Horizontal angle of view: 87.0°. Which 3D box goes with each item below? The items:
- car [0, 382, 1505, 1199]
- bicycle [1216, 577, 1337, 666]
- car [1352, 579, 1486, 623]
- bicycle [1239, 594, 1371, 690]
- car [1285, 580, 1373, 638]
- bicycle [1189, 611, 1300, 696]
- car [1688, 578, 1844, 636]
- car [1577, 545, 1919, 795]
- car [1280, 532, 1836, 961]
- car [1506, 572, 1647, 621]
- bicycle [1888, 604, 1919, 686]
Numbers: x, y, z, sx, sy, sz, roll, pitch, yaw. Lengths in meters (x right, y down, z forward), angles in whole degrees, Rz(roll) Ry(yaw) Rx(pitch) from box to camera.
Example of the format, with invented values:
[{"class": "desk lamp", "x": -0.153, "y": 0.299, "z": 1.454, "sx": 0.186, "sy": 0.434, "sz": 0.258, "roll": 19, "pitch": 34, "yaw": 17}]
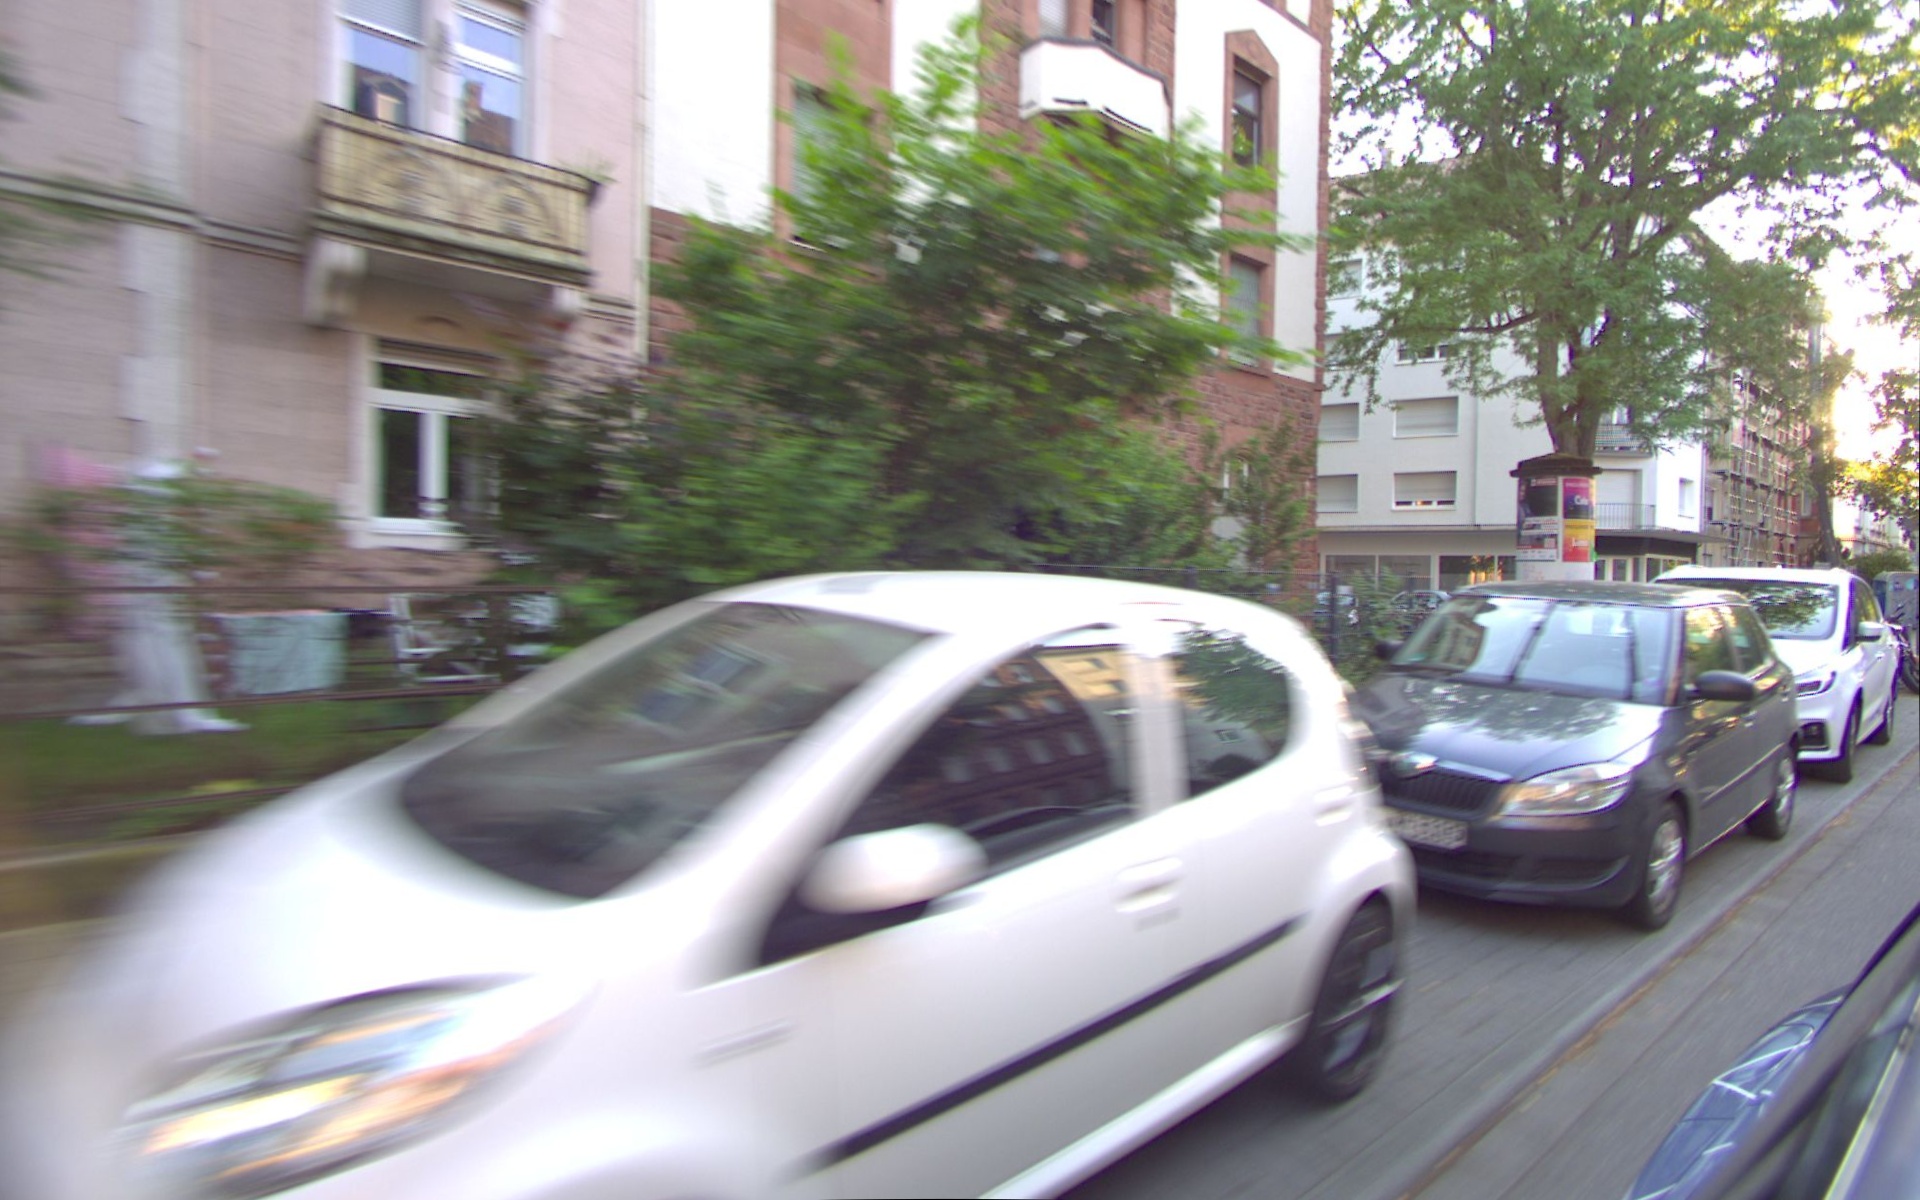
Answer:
[{"class": "car", "x": -0.112, "y": 0.571, "z": 2.789, "sx": 3.684, "sy": 1.626, "sz": 1.689, "roll": -1, "pitch": 2, "yaw": -42}, {"class": "bicycle", "x": 4.091, "y": 0.254, "z": 13.174, "sx": 0.325, "sy": 1.047, "sz": 1.512, "roll": 2, "pitch": 1, "yaw": -42}, {"class": "car", "x": 16.032, "y": 0.012, "z": 35.431, "sx": 4.194, "sy": 1.446, "sz": 1.642, "roll": 1, "pitch": 2, "yaw": 27}, {"class": "bicycle", "x": 4.168, "y": 0.481, "z": 12.300, "sx": 0.325, "sy": 1.047, "sz": 1.512, "roll": 2, "pitch": 1, "yaw": -42}, {"class": "car", "x": 10.399, "y": 0.206, "z": 28.384, "sx": 1.668, "sy": 1.496, "sz": 3.394, "roll": 1, "pitch": 1, "yaw": 32}, {"class": "bicycle", "x": 3.952, "y": 0.721, "z": 14.155, "sx": 0.325, "sy": 1.047, "sz": 1.512, "roll": 2, "pitch": 1, "yaw": -42}, {"class": "car", "x": 24.477, "y": 0.184, "z": 30.892, "sx": 3.450, "sy": 1.593, "sz": 1.608, "roll": 2, "pitch": 1, "yaw": 31}, {"class": "car", "x": 7.352, "y": 0.429, "z": 9.239, "sx": 4.524, "sy": 1.732, "sz": 1.800, "roll": -1, "pitch": 2, "yaw": -43}, {"class": "car", "x": 3.689, "y": 0.511, "z": 5.874, "sx": 4.139, "sy": 1.626, "sz": 1.689, "roll": -1, "pitch": 2, "yaw": -43}, {"class": "car", "x": 20.162, "y": -0.125, "z": 33.269, "sx": 3.863, "sy": 1.527, "sz": 1.609, "roll": 1, "pitch": 0, "yaw": 29}, {"class": "bicycle", "x": 14.692, "y": 0.660, "z": 15.102, "sx": 1.602, "sy": 1.187, "sz": 0.446, "roll": 0, "pitch": 1, "yaw": -15}]
